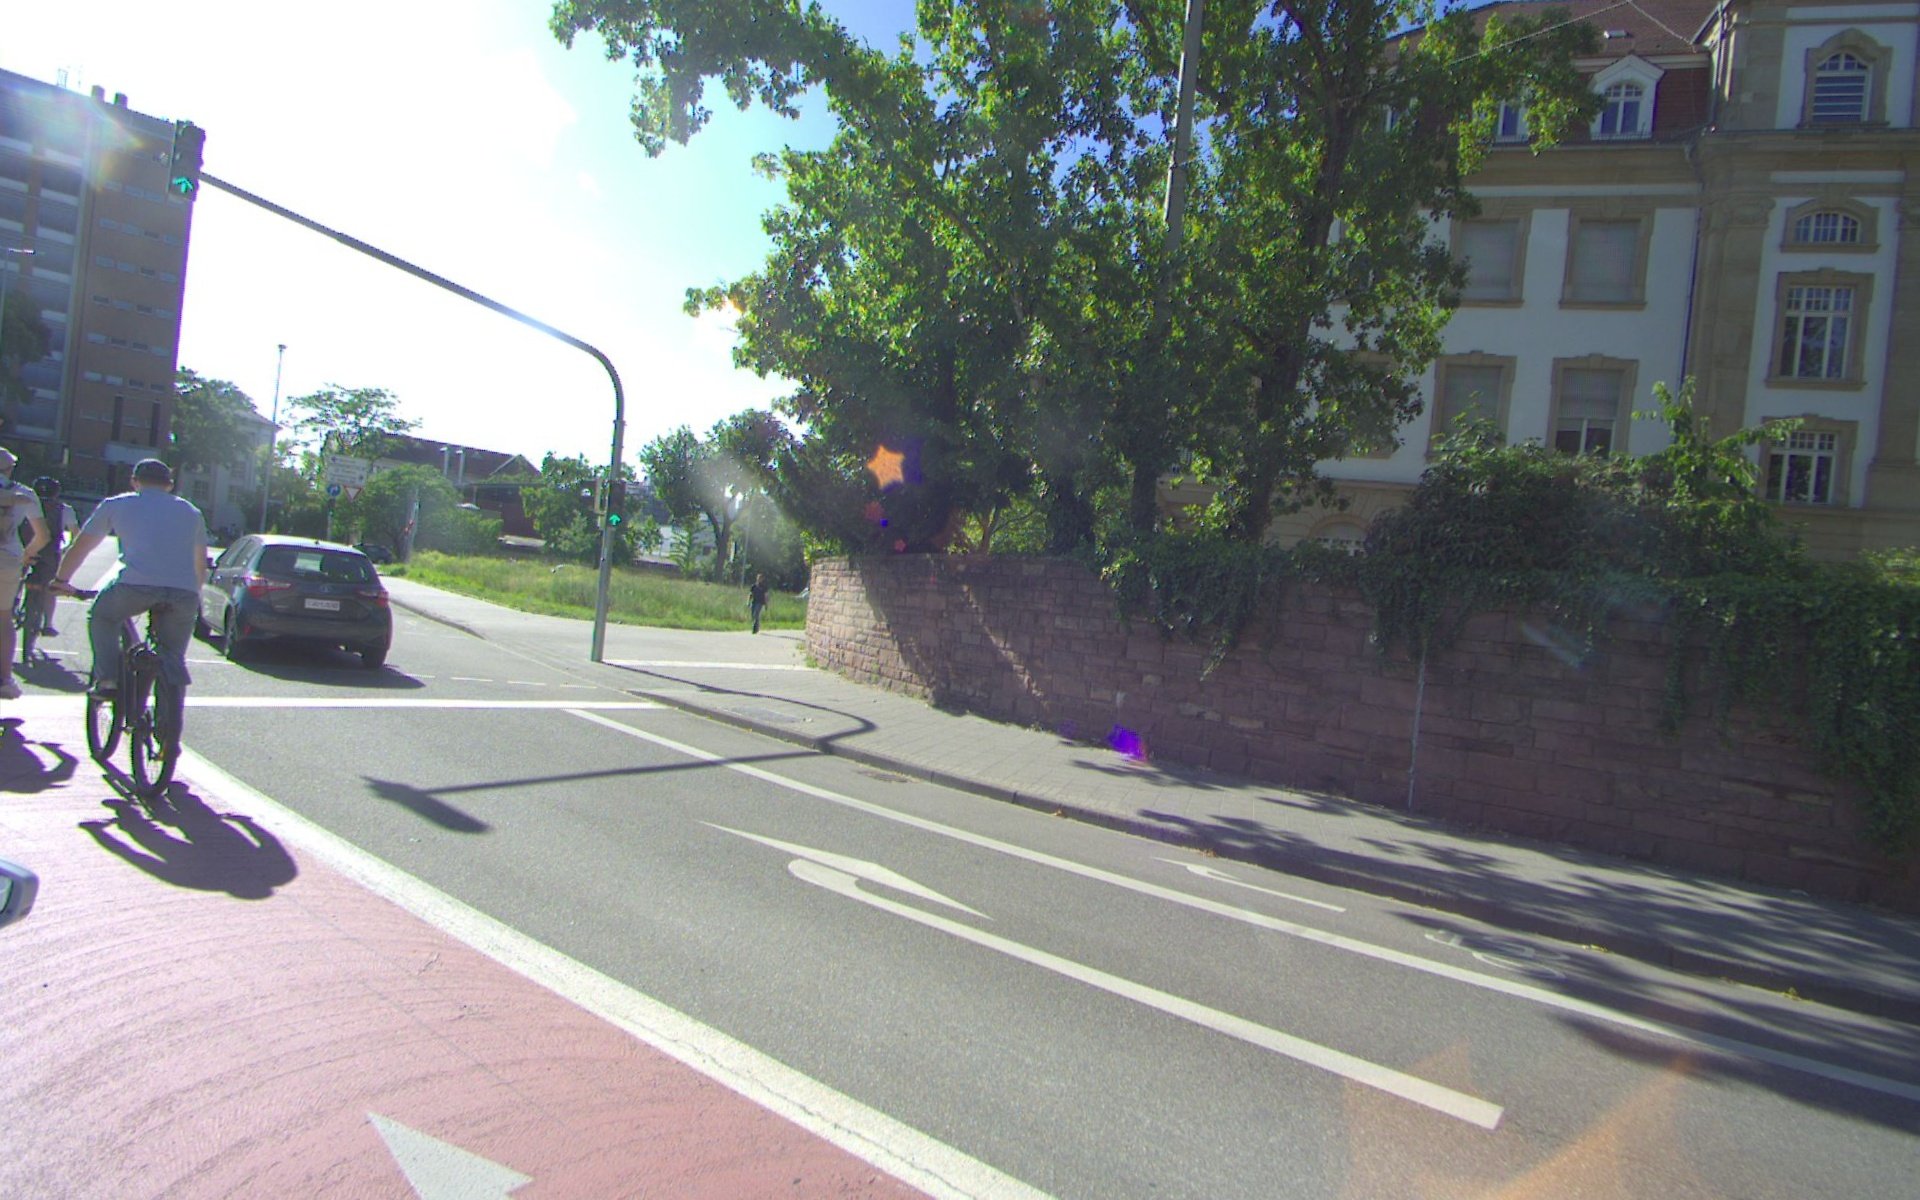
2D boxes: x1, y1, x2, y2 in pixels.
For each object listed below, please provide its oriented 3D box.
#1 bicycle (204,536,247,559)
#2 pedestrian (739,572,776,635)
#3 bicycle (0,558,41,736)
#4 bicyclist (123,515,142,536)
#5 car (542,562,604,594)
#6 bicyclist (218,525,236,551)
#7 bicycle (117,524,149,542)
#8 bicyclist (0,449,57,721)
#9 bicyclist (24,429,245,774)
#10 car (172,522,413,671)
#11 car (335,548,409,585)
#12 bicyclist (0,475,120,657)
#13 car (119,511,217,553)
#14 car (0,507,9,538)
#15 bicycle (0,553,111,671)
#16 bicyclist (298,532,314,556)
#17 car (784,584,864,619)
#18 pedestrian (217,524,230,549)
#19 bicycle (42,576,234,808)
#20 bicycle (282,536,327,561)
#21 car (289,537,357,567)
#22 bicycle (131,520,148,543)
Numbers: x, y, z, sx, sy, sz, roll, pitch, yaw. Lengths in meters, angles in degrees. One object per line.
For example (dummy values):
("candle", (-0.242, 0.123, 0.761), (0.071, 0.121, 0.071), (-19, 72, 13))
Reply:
("bicycle", (-55.854, -3.998, 76.562), (2.432, 1.386, 0.845), (7, -2, -30))
("pedestrian", (-6.310, 0.103, 31.357), (0.746, 1.855, 1.049), (5, 1, 1))
("bicycle", (-6.832, 0.247, 6.878), (0.661, 1.059, 1.867), (9, -2, -44))
("bicyclist", (-61.246, -5.501, 74.476), (0.610, 1.462, 0.817), (7, 0, 32))
("car", (-31.545, -1.756, 81.971), (4.314, 2.037, 1.986), (7, -2, -30))
("bicyclist", (-55.785, -4.718, 76.563), (0.849, 1.868, 0.845), (6, -1, -30))
("bicycle", (-61.263, -4.985, 74.553), (0.601, 1.106, 1.667), (7, 0, 32))
("bicyclist", (-6.721, -0.140, 6.837), (0.662, 1.767, 0.993), (8, -2, -44))
("bicyclist", (-4.793, 0.014, 5.828), (1.001, 1.797, 0.748), (6, 0, 44))
("car", (-8.807, -0.094, 13.161), (3.611, 1.559, 1.753), (5, -2, 44))
("car", (-41.584, -2.315, 71.246), (4.338, 2.037, 1.986), (7, -2, -30))
("bicyclist", (-8.930, -0.333, 9.926), (1.041, 1.645, 0.720), (6, -1, 44))
("car", (-51.602, -4.392, 65.671), (4.614, 2.037, 1.986), (7, -2, -30))
("car", (-63.232, -5.199, 63.147), (4.602, 1.922, 1.991), (7, -2, -22))
("bicycle", (-9.085, 0.097, 10.003), (1.859, 0.971, 0.721), (6, -1, 44))
("bicyclist", (-51.122, -4.362, 78.615), (0.853, 1.712, 0.876), (7, -2, -35))
("car", (-12.884, 0.139, 95.620), (7.102, 2.453, 2.057), (7, 0, -32))
("pedestrian", (-54.069, -4.663, 73.836), (0.550, 1.689, 0.474), (6, -1, -24))
("bicycle", (-4.886, 0.482, 5.933), (1.806, 1.090, 0.609), (5, -1, 45))
("bicycle", (-51.180, -4.037, 78.601), (2.786, 1.559, 0.876), (7, -2, -36))
("car", (-46.069, -3.427, 72.819), (3.862, 1.604, 1.868), (7, -2, -28))
("bicycle", (-63.387, -5.292, 77.734), (0.878, 1.559, 2.781), (7, -2, -40))
